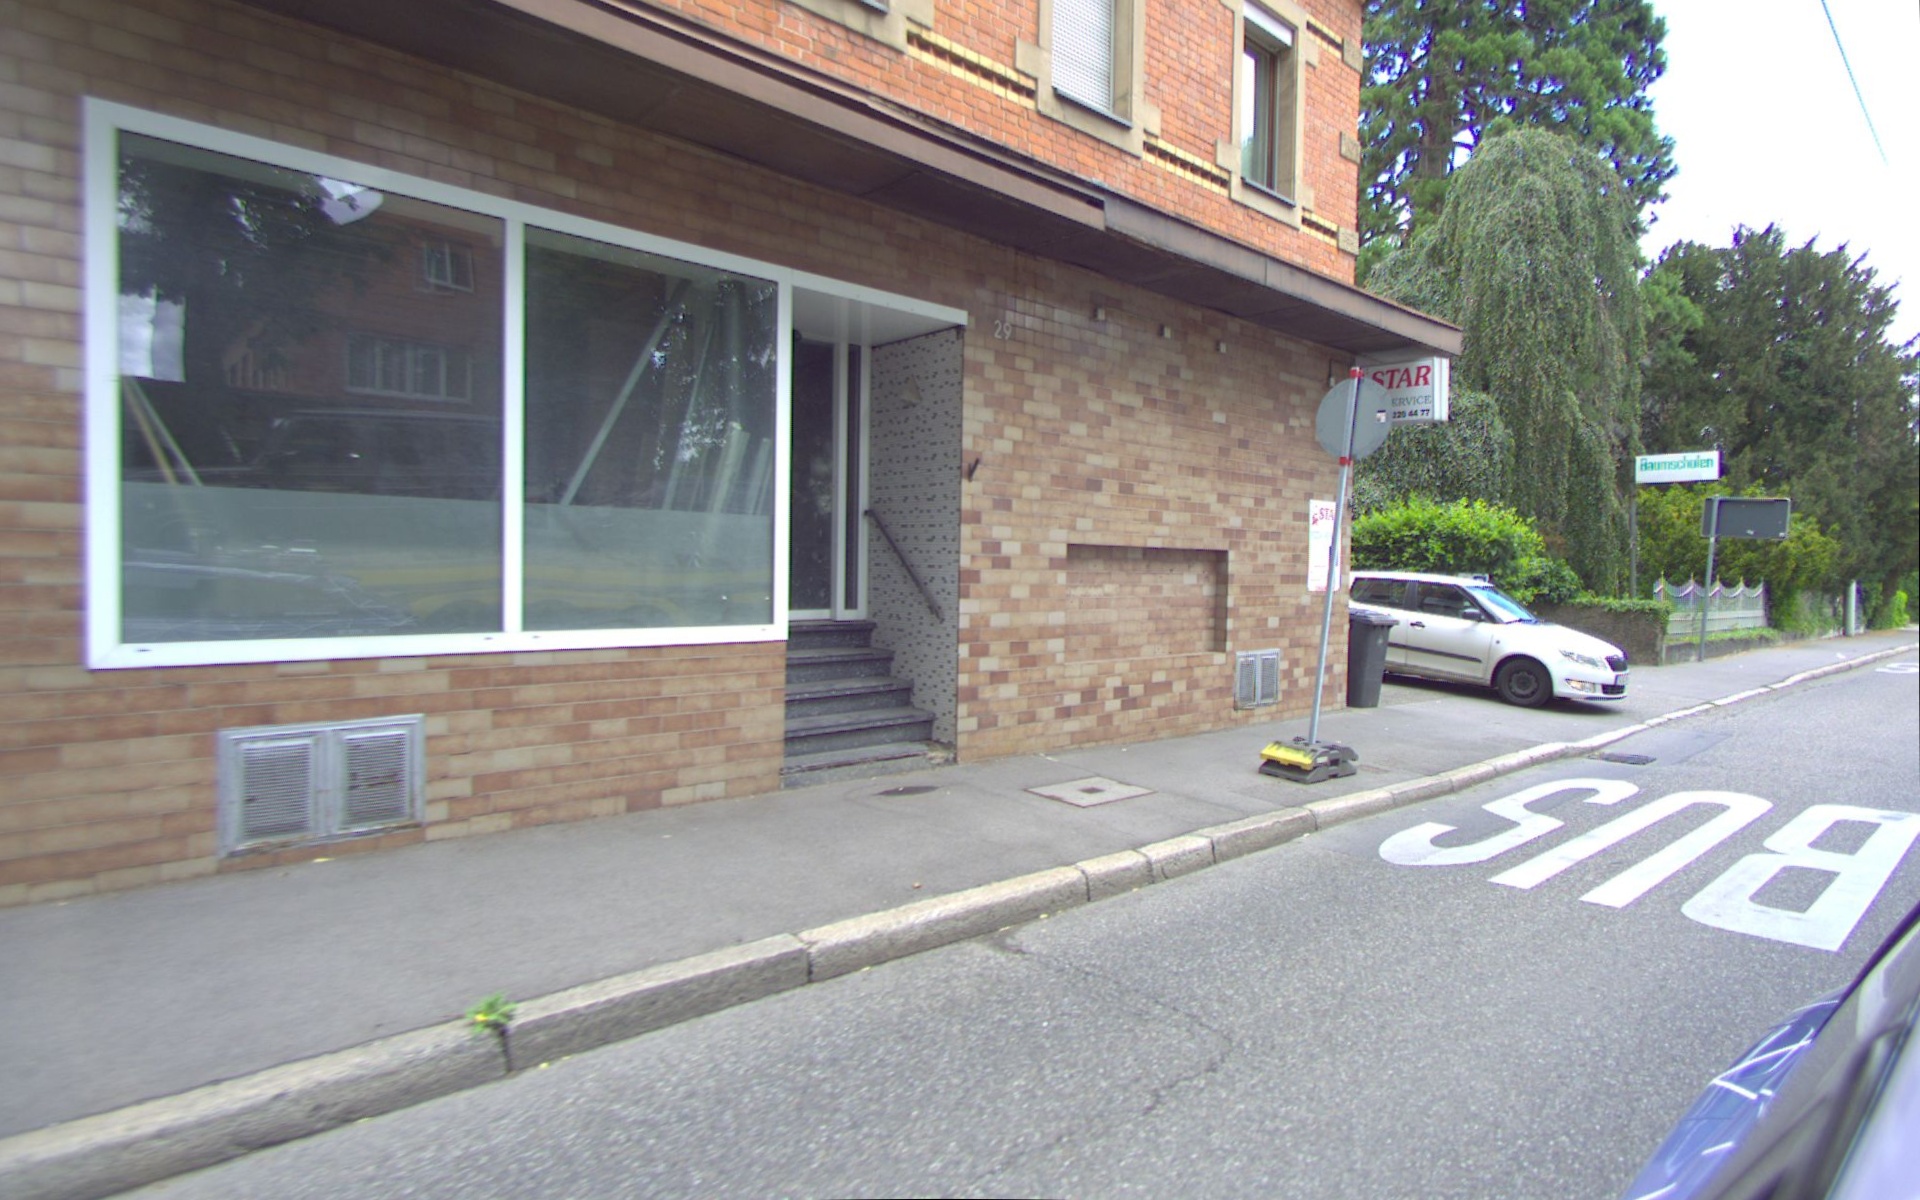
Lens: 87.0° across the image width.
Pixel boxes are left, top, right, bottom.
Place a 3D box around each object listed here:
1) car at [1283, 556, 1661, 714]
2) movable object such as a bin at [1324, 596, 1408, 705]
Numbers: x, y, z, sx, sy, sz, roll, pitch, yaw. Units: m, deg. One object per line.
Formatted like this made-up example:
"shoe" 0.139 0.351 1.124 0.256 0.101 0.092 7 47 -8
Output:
"car" 6.501 0.309 13.217 1.574 1.487 4.037 -1 6 -42
"movable object such as a bin" 4.486 0.539 11.177 0.612 1.114 0.608 -1 4 -41
